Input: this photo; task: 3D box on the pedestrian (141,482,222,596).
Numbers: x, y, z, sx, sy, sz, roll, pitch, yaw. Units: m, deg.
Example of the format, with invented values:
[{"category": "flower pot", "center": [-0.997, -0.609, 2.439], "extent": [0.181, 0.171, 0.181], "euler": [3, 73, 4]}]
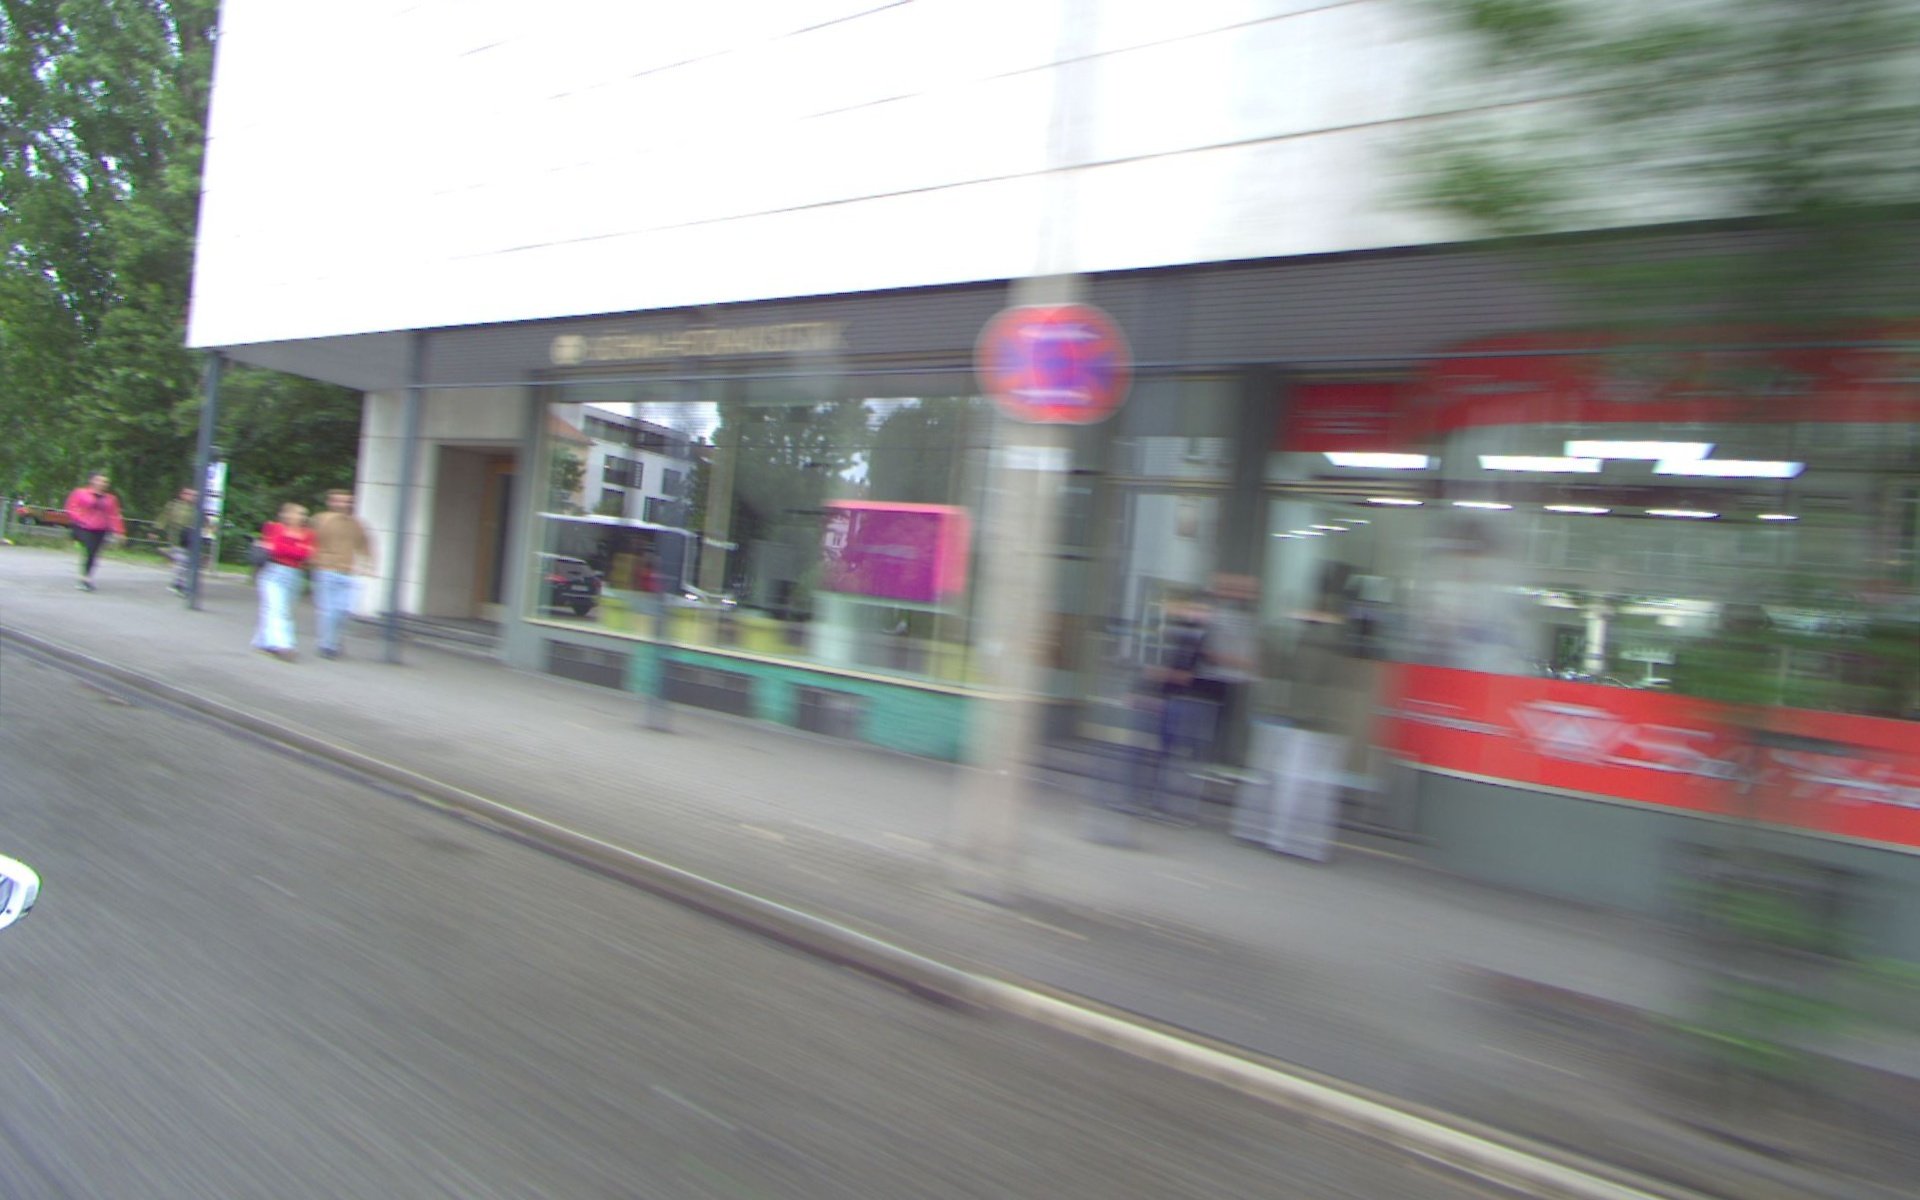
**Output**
[{"category": "pedestrian", "center": [-11.727, -0.913, 15.161], "extent": [0.596, 1.610, 0.726], "euler": [7, 2, 31]}]

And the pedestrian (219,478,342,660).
[{"category": "pedestrian", "center": [-7.112, -0.321, 10.526], "extent": [0.907, 1.790, 0.653], "euler": [7, 2, 32]}]

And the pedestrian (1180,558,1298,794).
[{"category": "pedestrian", "center": [2.190, 0.583, 7.889], "extent": [0.527, 1.740, 0.535], "euler": [7, 2, 42]}]

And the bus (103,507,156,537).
[{"category": "bus", "center": [-62.740, -5.899, 76.002], "extent": [3.937, 1.744, 1.995], "euler": [6, -1, 34]}]

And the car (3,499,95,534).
[{"category": "car", "center": [-60.922, -5.571, 67.360], "extent": [1.775, 1.641, 4.129], "euler": [6, 0, 28]}]

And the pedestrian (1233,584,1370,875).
[{"category": "pedestrian", "center": [2.319, 0.850, 6.824], "extent": [0.527, 1.843, 0.535], "euler": [7, 2, 40]}]

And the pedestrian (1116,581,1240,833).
[{"category": "pedestrian", "center": [1.615, 0.771, 7.441], "extent": [0.527, 1.740, 0.535], "euler": [7, 2, 40]}]

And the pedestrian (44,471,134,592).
[{"category": "pedestrian", "center": [-12.599, -0.982, 14.552], "extent": [0.756, 1.641, 0.717], "euler": [7, 2, 31]}]

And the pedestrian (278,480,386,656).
[{"category": "pedestrian", "center": [-6.849, -0.333, 10.983], "extent": [0.596, 1.825, 0.698], "euler": [7, 2, 31]}]
